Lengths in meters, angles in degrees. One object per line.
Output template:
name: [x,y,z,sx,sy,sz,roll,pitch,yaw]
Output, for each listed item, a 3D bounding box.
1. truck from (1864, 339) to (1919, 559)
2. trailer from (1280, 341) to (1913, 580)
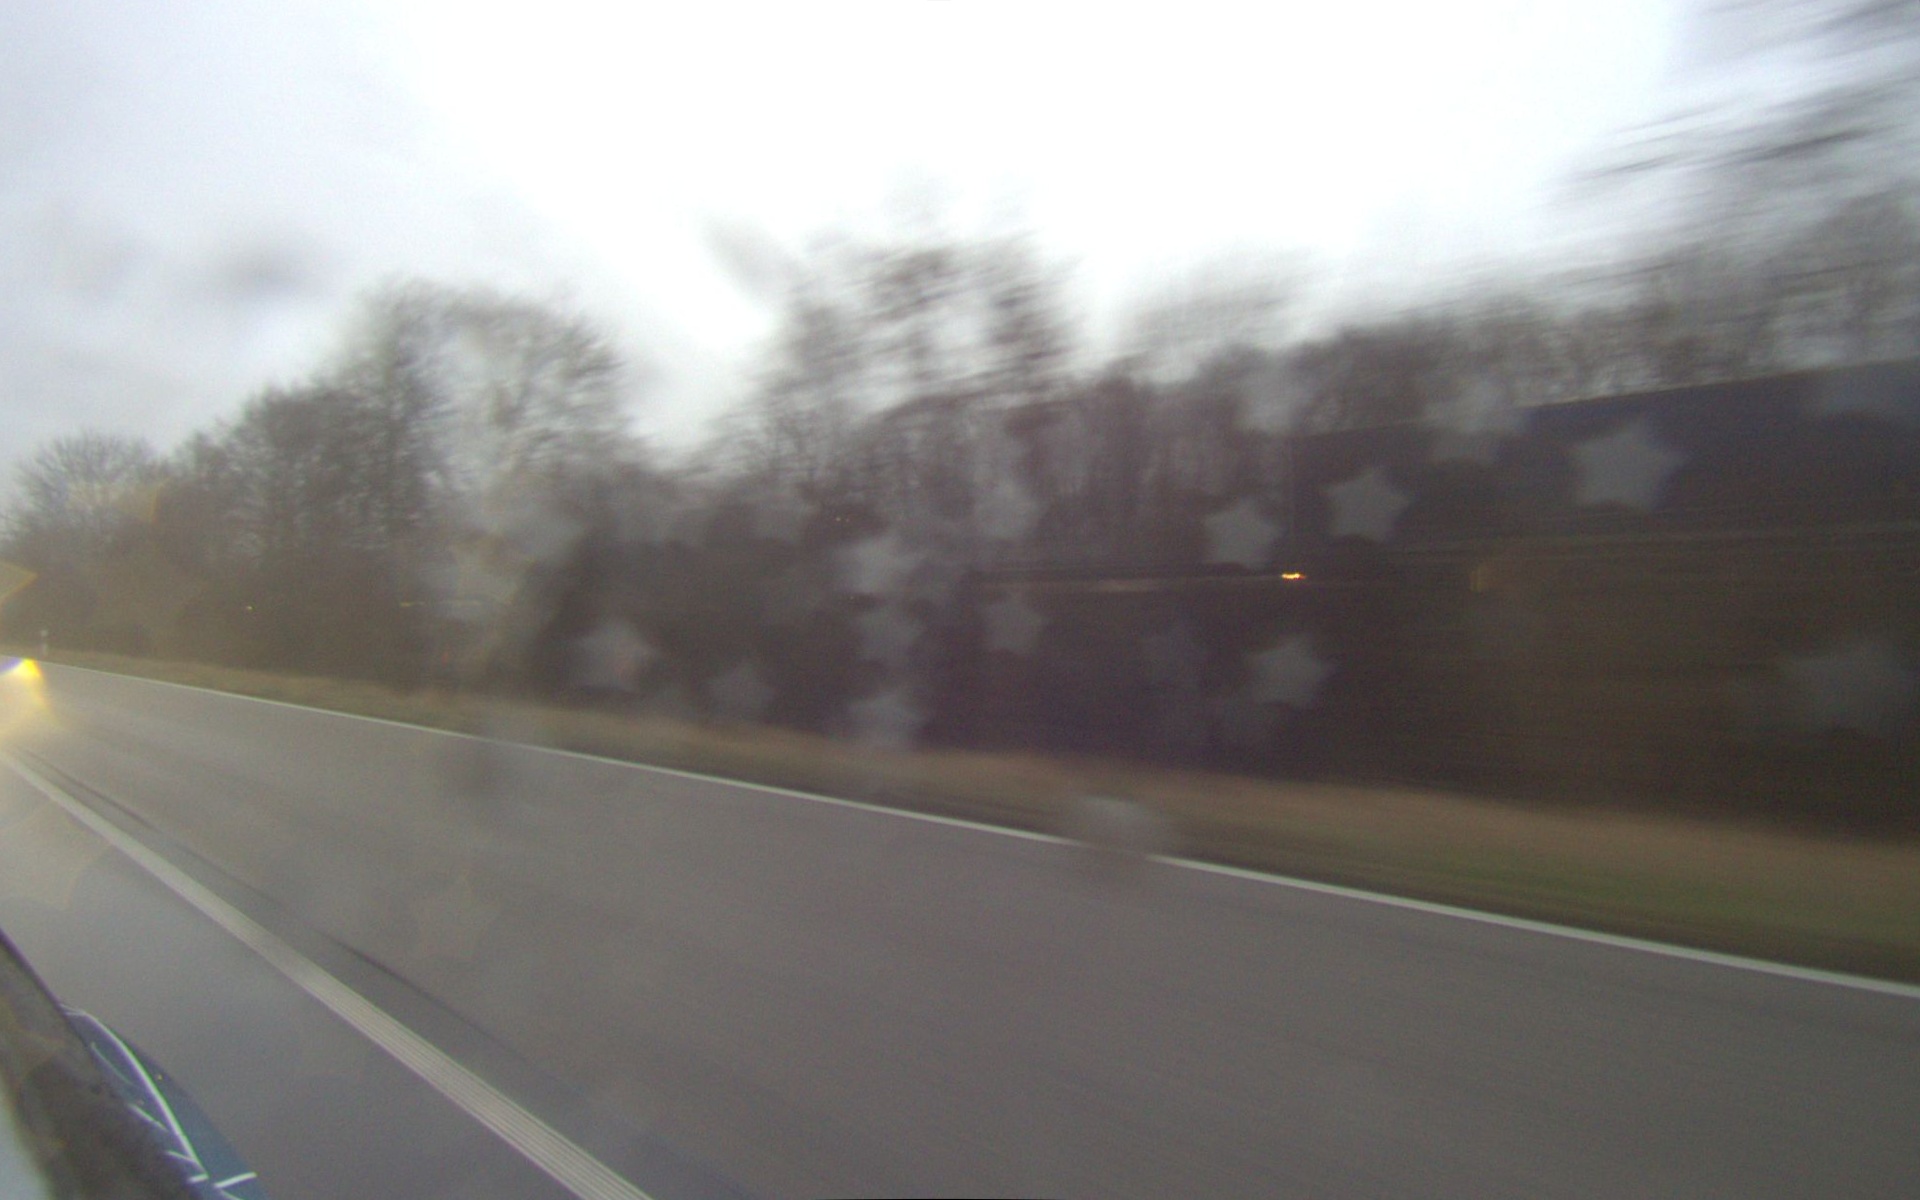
truck: [19.398,-2.741,17.044,6.064,3.660,2.961,-2,-2,41]
trailer: [13.225,-2.526,22.515,11.382,3.661,2.967,-2,-2,42]
